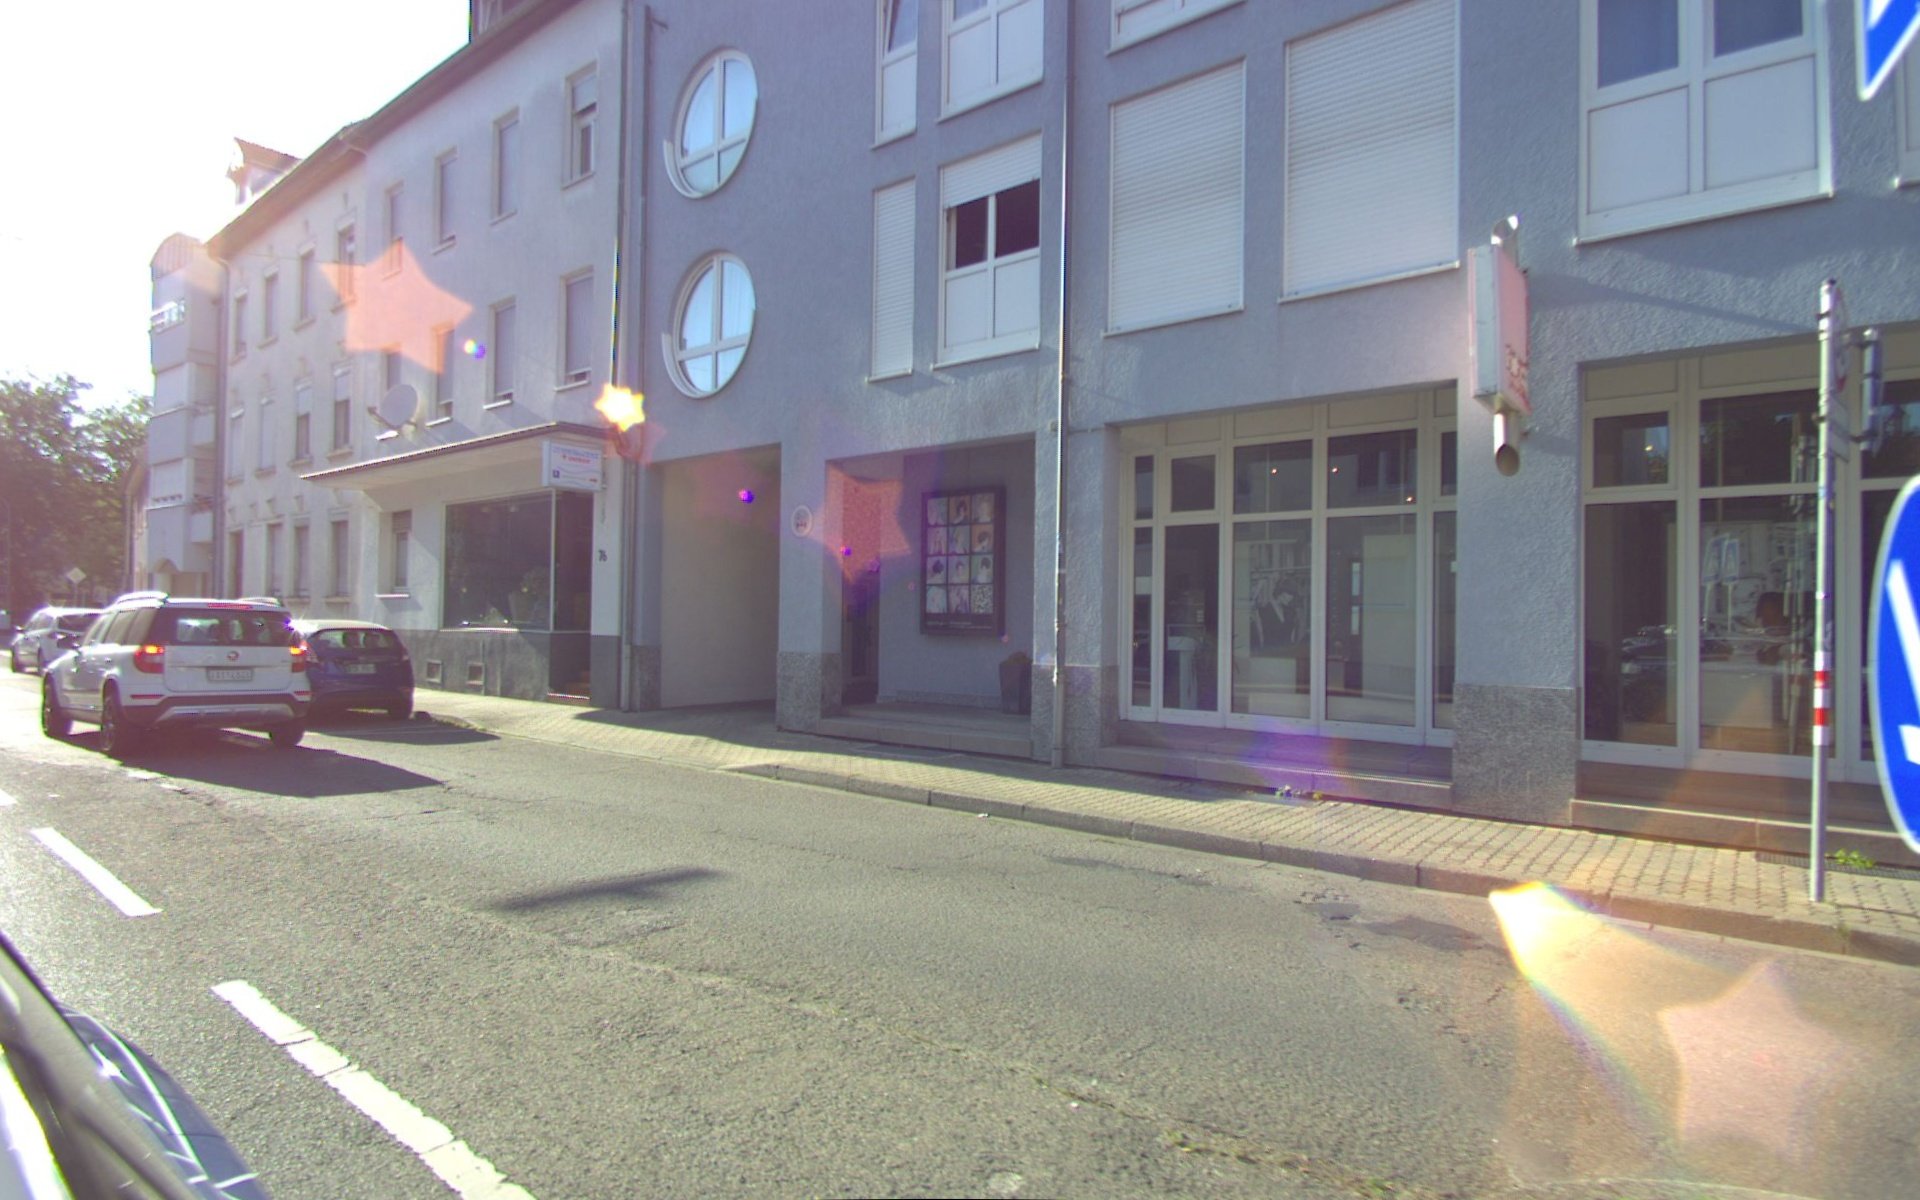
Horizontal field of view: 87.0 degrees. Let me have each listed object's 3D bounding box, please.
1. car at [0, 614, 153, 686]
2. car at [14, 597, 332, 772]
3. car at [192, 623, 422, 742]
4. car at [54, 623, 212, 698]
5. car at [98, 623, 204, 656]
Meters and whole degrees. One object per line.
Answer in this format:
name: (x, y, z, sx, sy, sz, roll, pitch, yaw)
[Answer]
car: (-22.579, 1.208, 25.722, 5.212, 1.660, 1.975, -1, -2, 37)
car: (-9.336, 0.919, 11.919, 4.183, 1.714, 1.791, -1, -5, 36)
car: (-9.877, 1.141, 15.221, 3.954, 1.511, 1.714, 0, -2, 39)
car: (-18.234, 1.304, 22.263, 4.120, 1.507, 1.747, -1, -5, 38)
car: (-39.819, 1.965, 49.885, 1.998, 1.542, 3.729, -2, -4, 40)
